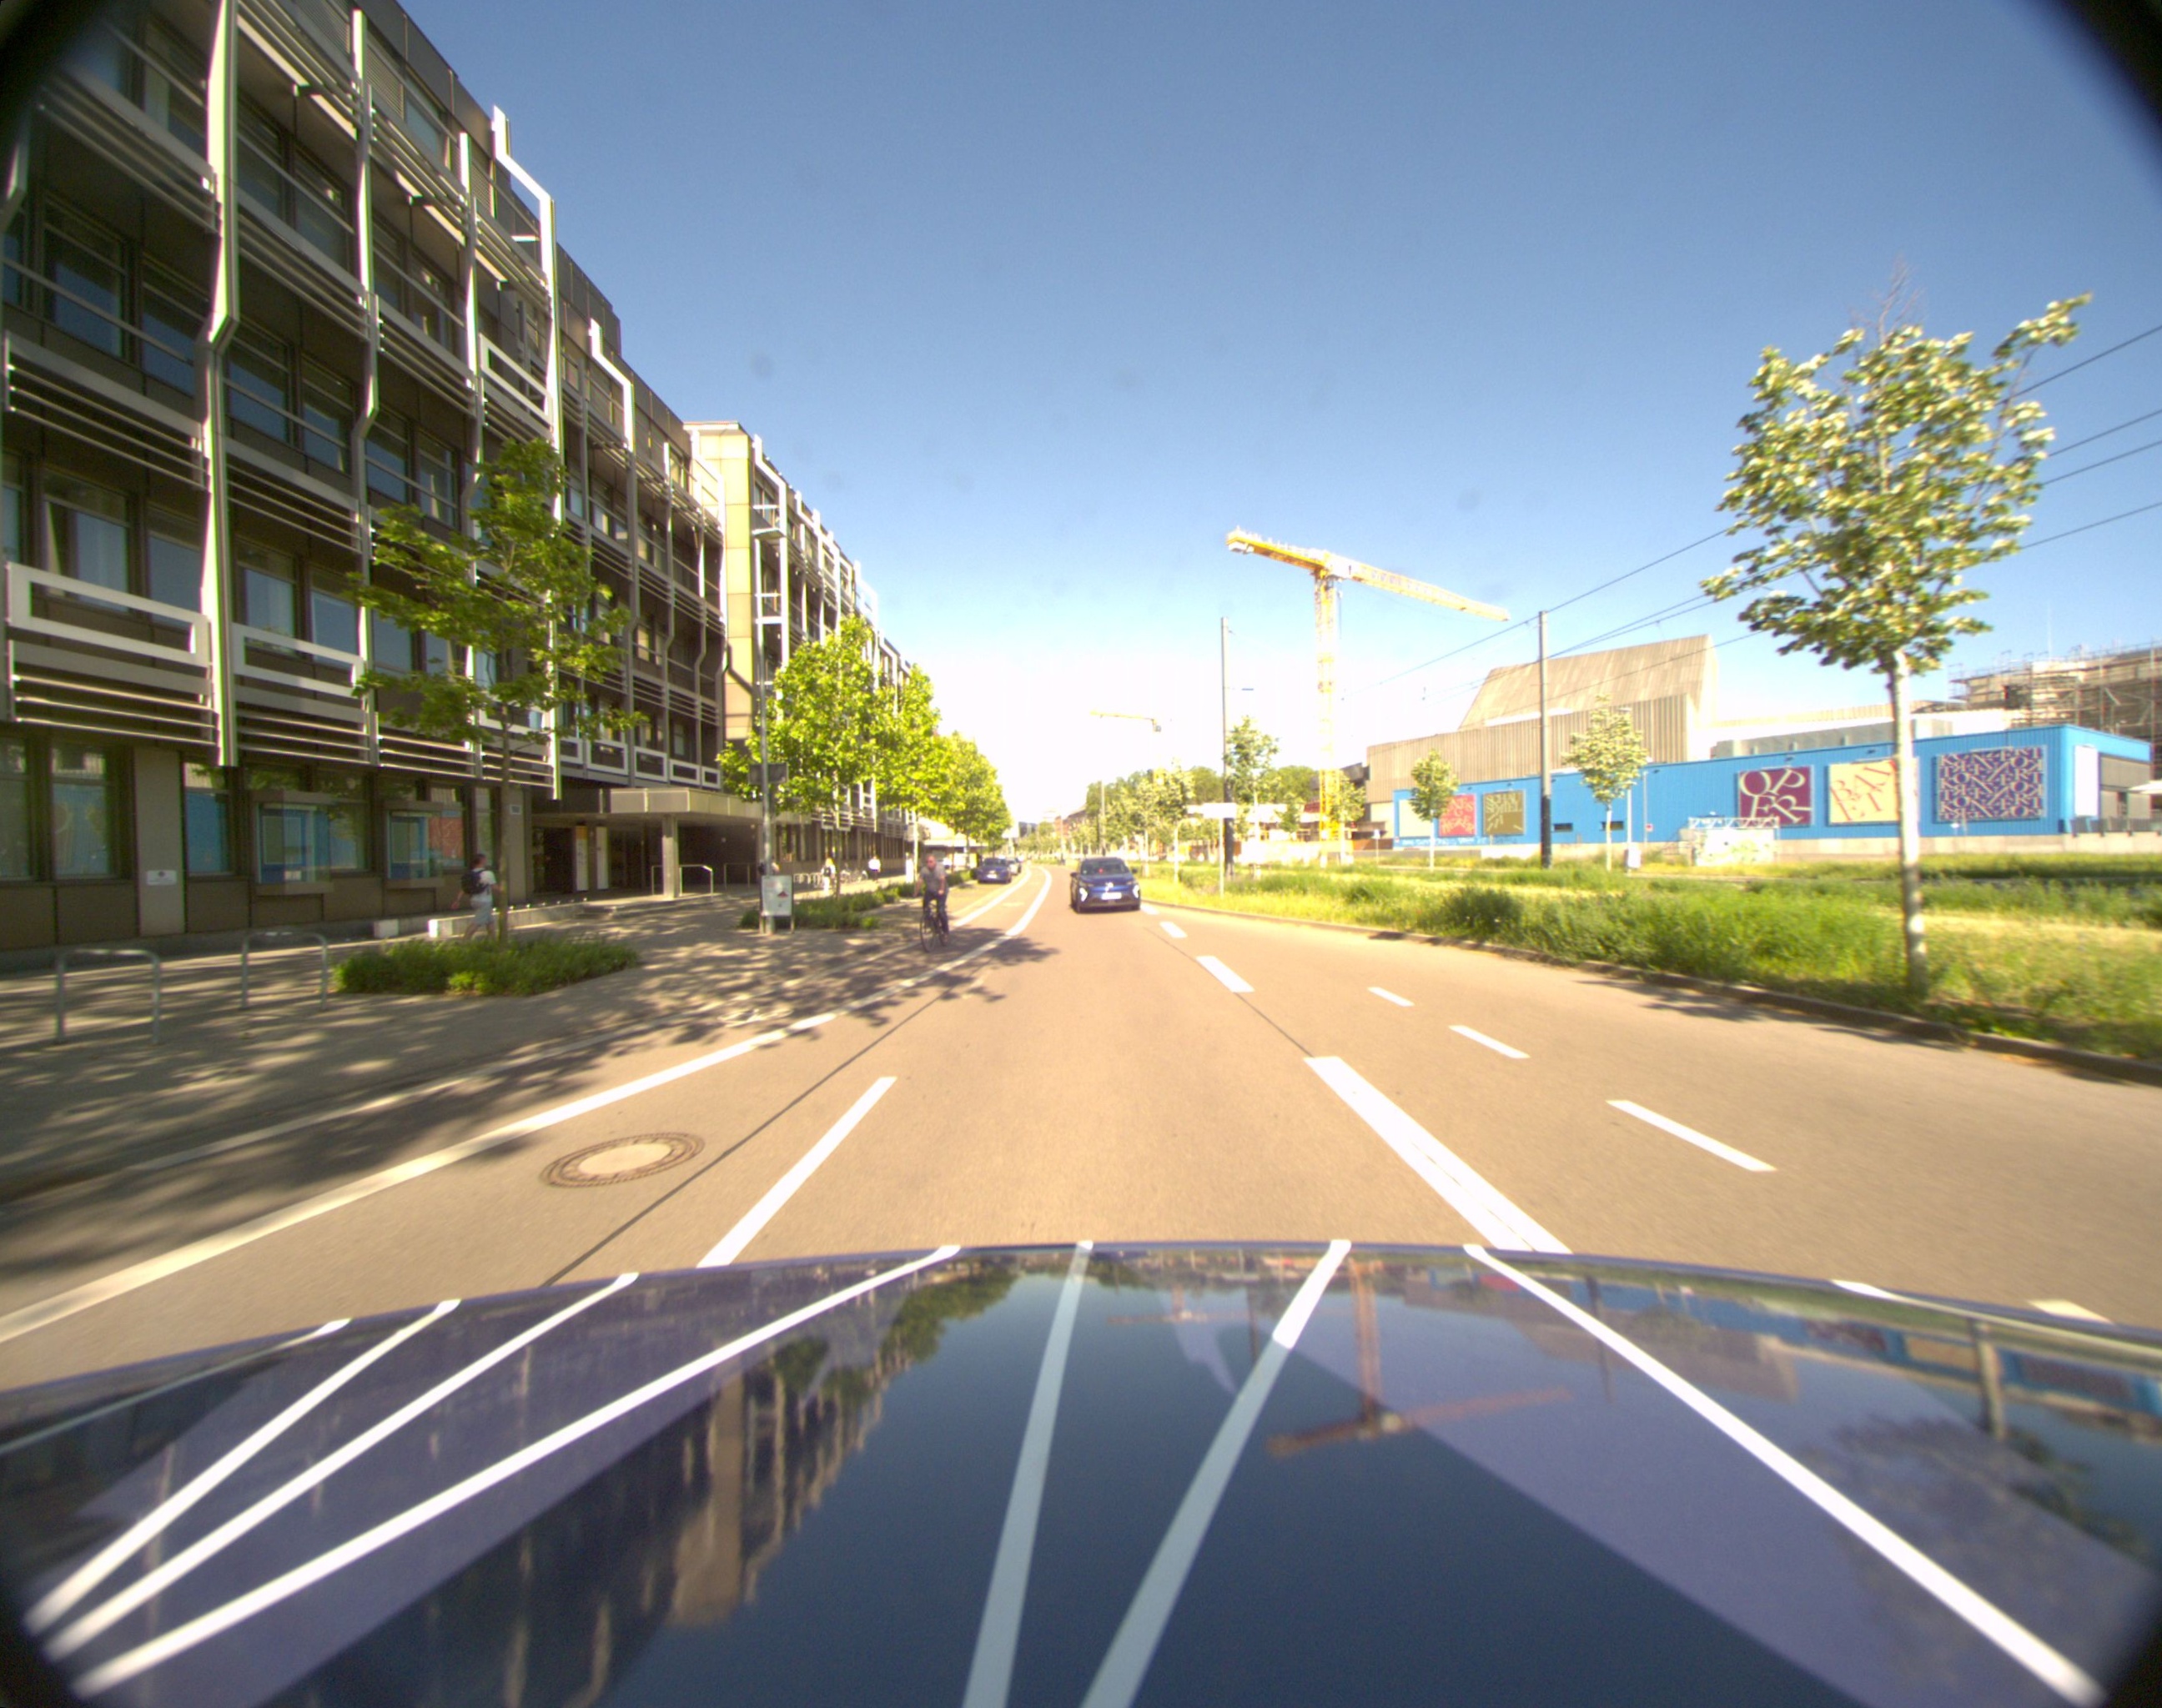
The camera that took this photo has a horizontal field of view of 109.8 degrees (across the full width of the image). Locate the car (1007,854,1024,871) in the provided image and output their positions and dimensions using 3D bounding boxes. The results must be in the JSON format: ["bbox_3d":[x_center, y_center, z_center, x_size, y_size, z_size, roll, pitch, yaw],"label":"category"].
[{"bbox_3d":[-6.839,0.830,79.265,1.753,1.649,4.467,-1,0,-5],"label":"car"}]

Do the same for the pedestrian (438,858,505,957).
[{"bbox_3d":[-10.877,0.936,13.587,0.512,1.691,0.774,-2,1,1],"label":"pedestrian"}]

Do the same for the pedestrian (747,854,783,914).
[{"bbox_3d":[-9.243,0.854,22.235,0.649,1.718,0.803,-2,1,1],"label":"pedestrian"}]

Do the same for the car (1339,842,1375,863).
[{"bbox_3d":[24.825,-0.155,68.510,1.802,1.787,3.999,-3,1,2],"label":"car"}]

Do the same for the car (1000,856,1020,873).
[{"bbox_3d":[-6.293,0.940,67.320,1.623,1.456,4.153,0,0,-4],"label":"car"}]

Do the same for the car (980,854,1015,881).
[{"bbox_3d":[-5.316,0.833,48.757,1.854,1.647,4.847,0,0,-2],"label":"car"}]

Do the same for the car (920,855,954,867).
[{"bbox_3d":[-19.767,0.935,104.248,4.410,1.535,1.851,-1,1,-15],"label":"car"}]

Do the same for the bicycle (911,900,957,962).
[{"bbox_3d":[-2.719,1.398,14.251,0.499,0.900,2.196,-3,0,-3],"label":"bicycle"}]

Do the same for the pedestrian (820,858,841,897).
[{"bbox_3d":[-9.773,0.901,29.686,0.512,1.466,0.736,-2,1,1],"label":"pedestrian"}]

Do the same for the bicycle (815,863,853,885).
[{"bbox_3d":[-12.970,1.040,39.978,1.862,1.091,0.427,1,1,2],"label":"bicycle"}]

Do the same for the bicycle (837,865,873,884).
[{"bbox_3d":[-12.386,1.102,41.623,1.862,1.005,0.427,1,1,2],"label":"bicycle"}]

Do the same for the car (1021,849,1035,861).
[{"bbox_3d":[-8.783,0.193,126.949,1.822,1.783,3.999,-3,1,1],"label":"car"}]

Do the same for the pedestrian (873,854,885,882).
[{"bbox_3d":[-11.841,0.812,44.601,0.512,1.613,0.674,1,1,0],"label":"pedestrian"}]

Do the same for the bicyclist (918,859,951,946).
[{"bbox_3d":[-2.756,0.907,14.342,0.514,1.592,0.536,-1,1,-3],"label":"bicyclist"}]

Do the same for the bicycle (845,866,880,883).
[{"bbox_3d":[-12.283,1.154,42.768,1.862,0.933,0.427,1,1,2],"label":"bicycle"}]

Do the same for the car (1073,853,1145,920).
[{"bbox_3d":[0.707,0.840,21.764,1.749,1.613,4.152,-5,0,0],"label":"car"}]
